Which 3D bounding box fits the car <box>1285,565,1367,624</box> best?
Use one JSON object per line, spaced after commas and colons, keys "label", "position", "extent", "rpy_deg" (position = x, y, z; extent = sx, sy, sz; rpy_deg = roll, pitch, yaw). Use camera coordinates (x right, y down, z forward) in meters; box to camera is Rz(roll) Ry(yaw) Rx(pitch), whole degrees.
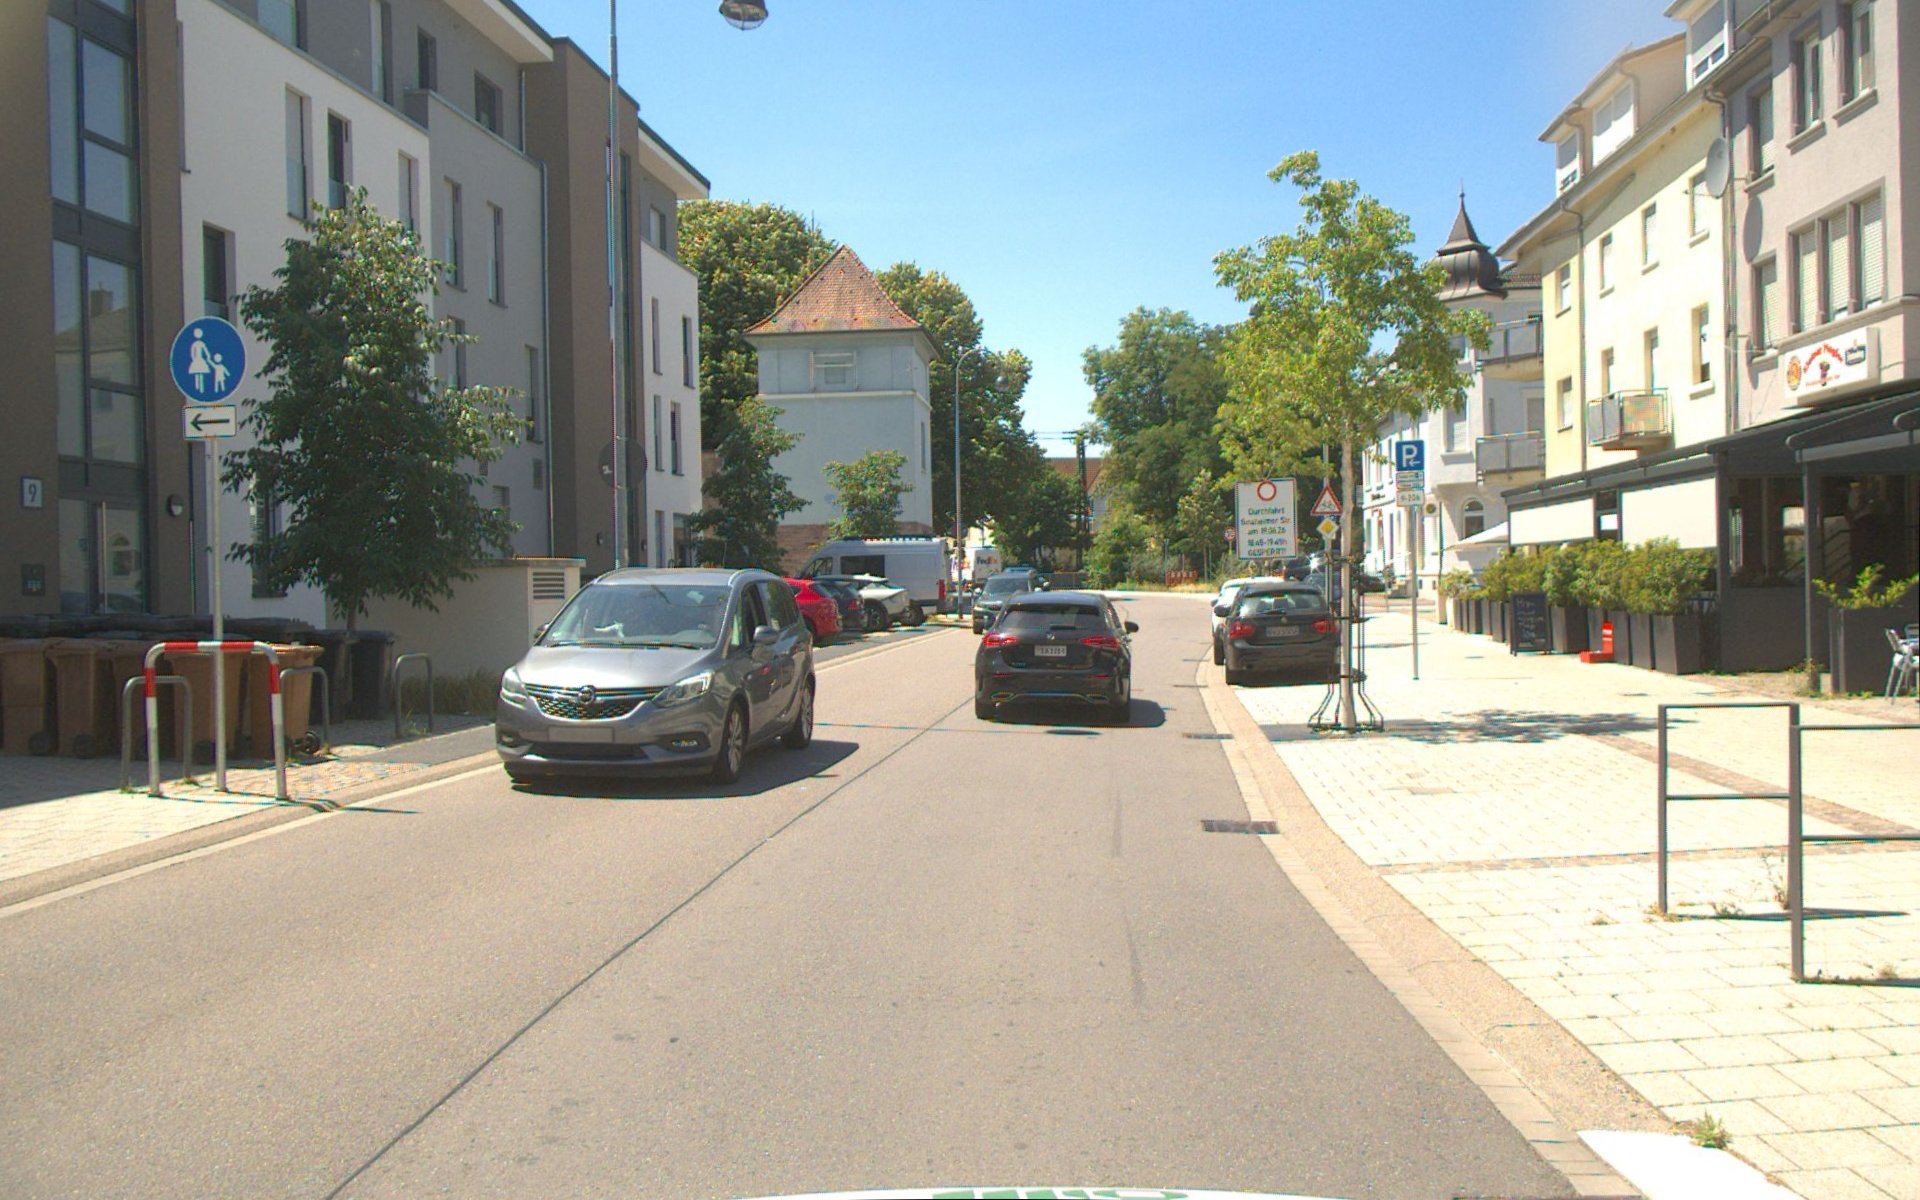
{"label": "car", "position": [10.793, -0.193, 48.581], "extent": [1.833, 1.517, 3.863], "rpy_deg": [-2, 2, 20]}

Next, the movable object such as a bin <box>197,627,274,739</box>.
{"label": "movable object such as a bin", "position": [-6.825, 0.778, 15.592], "extent": [0.543, 1.015, 0.404], "rpy_deg": [-1, 0, -7]}

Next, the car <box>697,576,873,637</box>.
{"label": "car", "position": [-4.315, 0.154, 41.264], "extent": [4.112, 1.463, 1.886], "rpy_deg": [0, 0, 2]}

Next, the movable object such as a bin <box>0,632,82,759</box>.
{"label": "movable object such as a bin", "position": [-7.688, 0.780, 13.736], "extent": [0.472, 1.015, 0.527], "rpy_deg": [-1, 0, 9]}

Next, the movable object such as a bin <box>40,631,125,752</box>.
{"label": "movable object such as a bin", "position": [-7.601, 0.784, 14.340], "extent": [0.394, 1.015, 0.556], "rpy_deg": [-1, 0, 5]}

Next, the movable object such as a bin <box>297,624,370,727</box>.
{"label": "movable object such as a bin", "position": [-6.359, 0.763, 16.808], "extent": [0.542, 1.015, 0.427], "rpy_deg": [-1, 0, 8]}

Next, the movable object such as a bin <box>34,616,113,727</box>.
{"label": "movable object such as a bin", "position": [-8.747, 0.698, 16.332], "extent": [0.544, 1.057, 0.480], "rpy_deg": [-1, 0, -11]}

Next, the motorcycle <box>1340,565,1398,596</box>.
{"label": "motorcycle", "position": [17.387, -0.851, 70.351], "extent": [2.326, 1.297, 0.857], "rpy_deg": [0, 1, 6]}

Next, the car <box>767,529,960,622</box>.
{"label": "car", "position": [-2.962, -0.777, 51.455], "extent": [5.644, 2.780, 2.293], "rpy_deg": [1, 0, 7]}

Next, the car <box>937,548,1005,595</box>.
{"label": "car", "position": [0.594, -1.693, 99.413], "extent": [2.100, 2.675, 5.238], "rpy_deg": [-1, 0, -24]}

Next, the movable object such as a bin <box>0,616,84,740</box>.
{"label": "movable object such as a bin", "position": [-8.641, 0.715, 15.405], "extent": [0.679, 1.114, 0.646], "rpy_deg": [-1, 0, -11]}

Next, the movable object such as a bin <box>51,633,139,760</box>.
{"label": "movable object such as a bin", "position": [-7.145, 0.788, 13.675], "extent": [0.415, 1.015, 0.524], "rpy_deg": [-1, 0, 6]}

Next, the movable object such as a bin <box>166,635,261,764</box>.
{"label": "movable object such as a bin", "position": [-6.118, 0.803, 13.574], "extent": [0.473, 1.015, 0.588], "rpy_deg": [-1, 0, 4]}

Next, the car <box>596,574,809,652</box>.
{"label": "car", "position": [-5.312, 0.246, 34.365], "extent": [3.946, 1.523, 2.002], "rpy_deg": [1, 0, 9]}

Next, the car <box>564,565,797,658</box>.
{"label": "car", "position": [-5.275, 0.199, 31.524], "extent": [3.946, 1.680, 2.002], "rpy_deg": [1, 0, 9]}

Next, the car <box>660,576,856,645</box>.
{"label": "car", "position": [-4.472, 0.221, 36.908], "extent": [3.946, 1.455, 2.002], "rpy_deg": [1, 0, 9]}

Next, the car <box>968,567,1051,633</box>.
{"label": "car", "position": [1.422, 0.001, 46.257], "extent": [1.772, 1.731, 4.079], "rpy_deg": [-2, 0, 9]}

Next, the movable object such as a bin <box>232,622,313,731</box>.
{"label": "movable object such as a bin", "position": [-6.761, 0.741, 16.289], "extent": [0.542, 1.038, 0.560], "rpy_deg": [-1, 0, 2]}

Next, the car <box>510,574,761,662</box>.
{"label": "car", "position": [-5.647, 0.299, 29.028], "extent": [3.902, 1.446, 1.911], "rpy_deg": [1, 0, 7]}

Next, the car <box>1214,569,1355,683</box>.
{"label": "car", "position": [4.858, 0.373, 25.249], "extent": [1.794, 1.508, 4.099], "rpy_deg": [-3, -1, 7]}

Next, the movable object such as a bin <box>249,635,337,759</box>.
{"label": "movable object such as a bin", "position": [-5.695, 0.819, 14.135], "extent": [0.473, 1.015, 0.588], "rpy_deg": [-1, 0, 5]}

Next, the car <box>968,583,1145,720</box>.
{"label": "car", "position": [1.266, 0.577, 19.978], "extent": [1.789, 1.467, 4.003], "rpy_deg": [1, -1, 8]}

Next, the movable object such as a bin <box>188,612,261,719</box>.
{"label": "movable object such as a bin", "position": [-7.572, 0.664, 17.046], "extent": [0.565, 1.057, 0.549], "rpy_deg": [-1, 0, -11]}

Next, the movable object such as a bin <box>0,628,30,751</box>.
{"label": "movable object such as a bin", "position": [-8.274, 0.758, 13.988], "extent": [0.473, 1.015, 0.588], "rpy_deg": [-1, 0, -1]}

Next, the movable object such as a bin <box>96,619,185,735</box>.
{"label": "movable object such as a bin", "position": [-7.765, 0.722, 15.689], "extent": [0.608, 1.057, 0.581], "rpy_deg": [-1, 0, -11]}

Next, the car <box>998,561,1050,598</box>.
{"label": "car", "position": [3.073, -1.015, 80.557], "extent": [1.857, 1.580, 4.793], "rpy_deg": [-2, 2, -6]}

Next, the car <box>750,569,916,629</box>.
{"label": "car", "position": [-3.541, -0.031, 46.606], "extent": [4.359, 1.619, 2.002], "rpy_deg": [1, 0, 6]}

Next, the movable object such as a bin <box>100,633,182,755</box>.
{"label": "movable object such as a bin", "position": [-7.043, 0.800, 14.234], "extent": [0.394, 1.015, 0.556], "rpy_deg": [-1, 0, 5]}

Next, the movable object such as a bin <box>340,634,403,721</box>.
{"label": "movable object such as a bin", "position": [-6.197, 0.808, 17.422], "extent": [0.544, 0.883, 0.480], "rpy_deg": [-1, 0, -11]}

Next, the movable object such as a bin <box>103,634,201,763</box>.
{"label": "movable object such as a bin", "position": [-6.622, 0.796, 13.570], "extent": [0.473, 1.015, 0.588], "rpy_deg": [-1, 0, 5]}

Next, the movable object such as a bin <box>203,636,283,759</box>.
{"label": "movable object such as a bin", "position": [-6.152, 0.828, 14.203], "extent": [0.394, 1.015, 0.556], "rpy_deg": [-1, 0, 5]}

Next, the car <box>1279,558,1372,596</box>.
{"label": "car", "position": [16.865, -1.058, 76.504], "extent": [3.989, 1.746, 1.857], "rpy_deg": [0, 0, 5]}

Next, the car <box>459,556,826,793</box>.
{"label": "car", "position": [-2.456, 0.522, 13.964], "extent": [1.901, 1.687, 4.238], "rpy_deg": [0, 0, 6]}

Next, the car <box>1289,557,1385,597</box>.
{"label": "car", "position": [16.904, -1.045, 74.345], "extent": [3.989, 1.746, 1.857], "rpy_deg": [0, 0, 5]}

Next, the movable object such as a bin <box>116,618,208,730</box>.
{"label": "movable object such as a bin", "position": [-7.882, 0.720, 16.361], "extent": [0.663, 1.057, 0.603], "rpy_deg": [-1, 0, -11]}

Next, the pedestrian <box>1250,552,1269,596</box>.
{"label": "pedestrian", "position": [12.914, -1.129, 71.324], "extent": [0.730, 1.827, 0.844], "rpy_deg": [-1, 2, 14]}

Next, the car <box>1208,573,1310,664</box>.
{"label": "car", "position": [5.674, 0.304, 31.109], "extent": [1.700, 1.512, 4.058], "rpy_deg": [-3, 0, 12]}
